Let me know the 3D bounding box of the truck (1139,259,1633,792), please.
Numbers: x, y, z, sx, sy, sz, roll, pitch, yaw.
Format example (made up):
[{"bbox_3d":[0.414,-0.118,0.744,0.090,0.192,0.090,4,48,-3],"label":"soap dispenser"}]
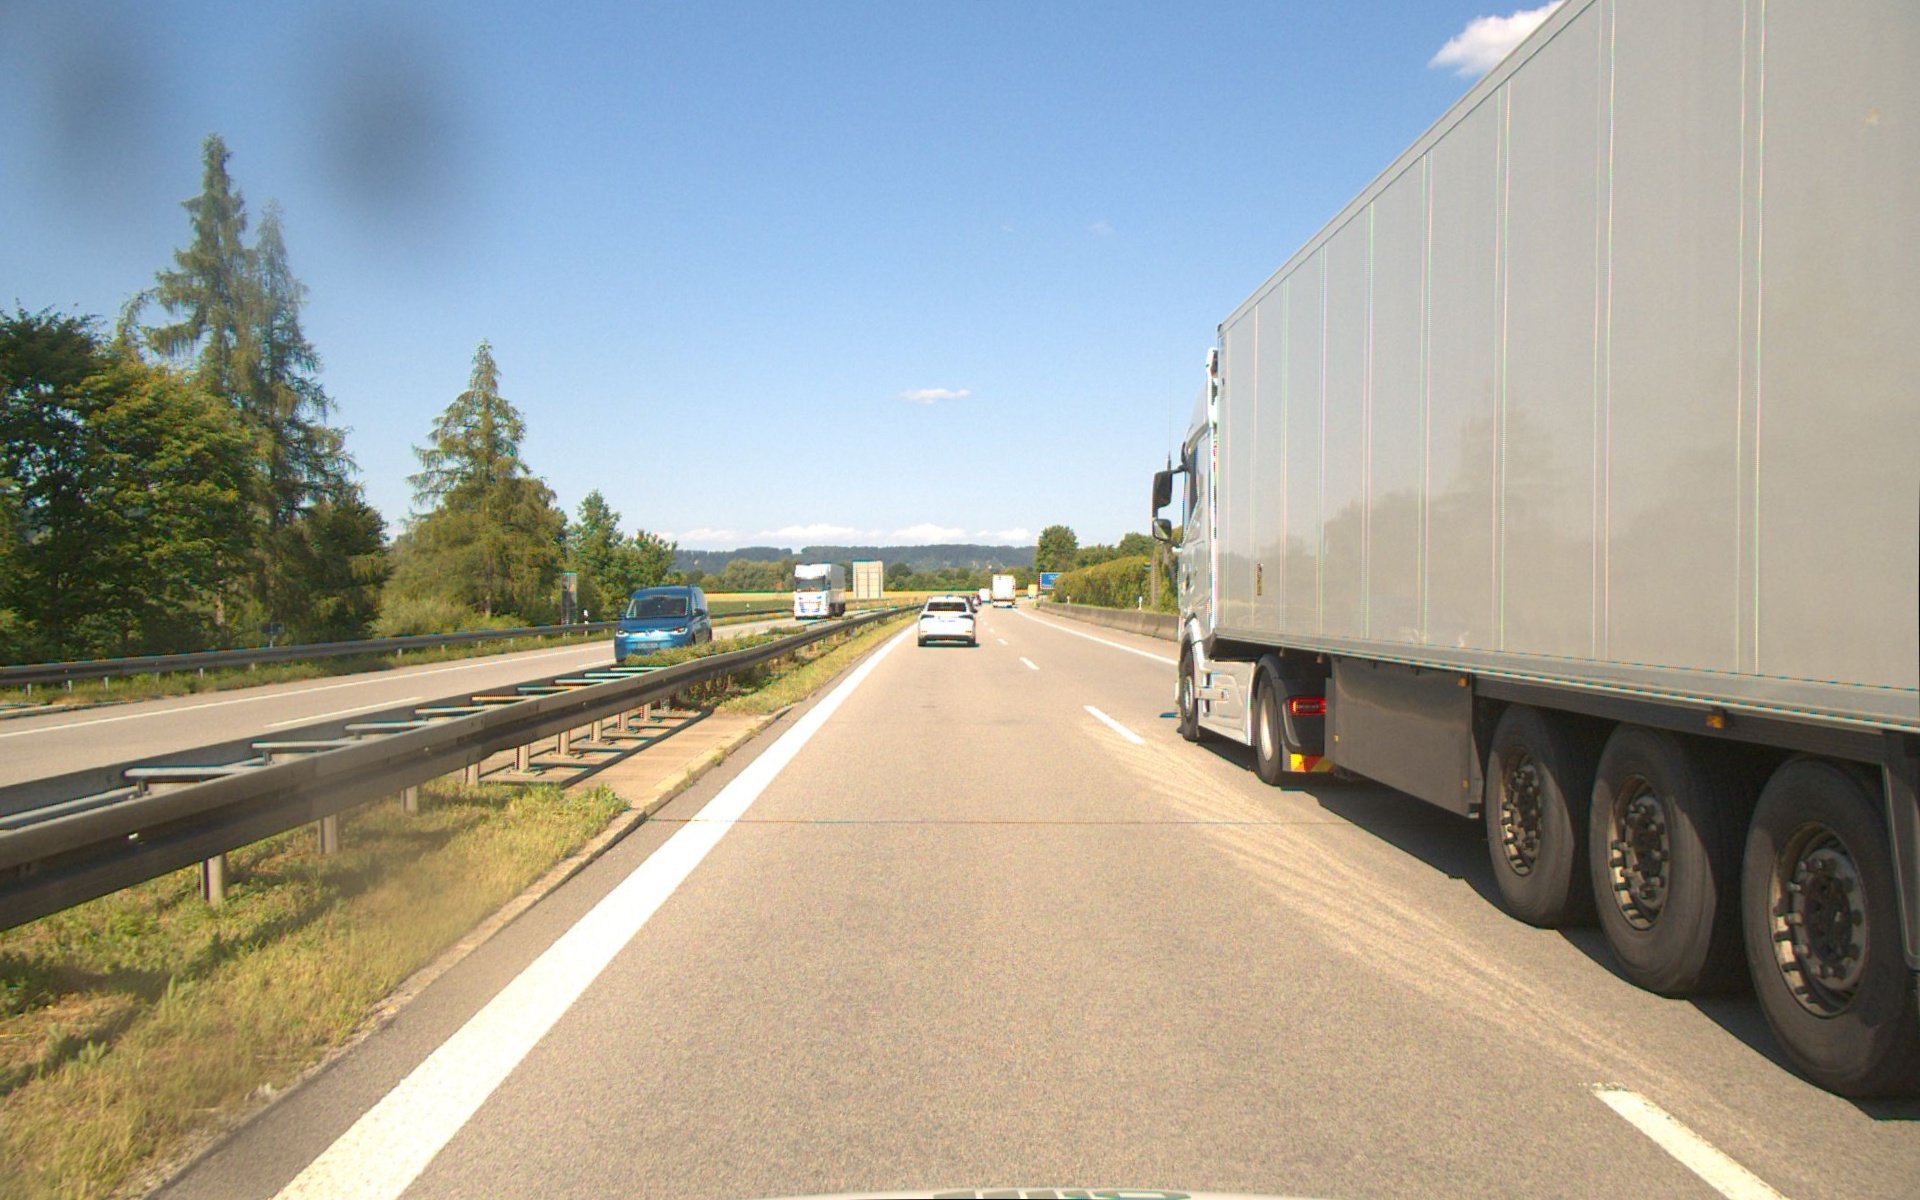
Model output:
[{"bbox_3d":[3.665,-0.597,16.245,2.783,4.036,7.041,-1,0,-2],"label":"truck"}]

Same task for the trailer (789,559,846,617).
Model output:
[{"bbox_3d":[-11.093,-0.915,129.924,3.086,4.196,13.441,-2,0,0],"label":"trailer"}]

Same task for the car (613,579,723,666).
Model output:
[{"bbox_3d":[-6.924,0.500,39.643,1.719,1.881,5.010,-2,0,-1],"label":"car"}]

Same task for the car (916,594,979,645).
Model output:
[{"bbox_3d":[-0.436,0.564,51.083,1.803,1.446,5.252,1,0,-2],"label":"car"}]

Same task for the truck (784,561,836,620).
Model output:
[{"bbox_3d":[-11.148,-0.699,123.584,3.092,4.173,7.735,-2,0,0],"label":"truck"}]

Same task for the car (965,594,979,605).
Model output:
[{"bbox_3d":[1.611,-0.087,222.334,1.734,1.446,4.366,1,0,2],"label":"car"}]

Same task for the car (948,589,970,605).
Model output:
[{"bbox_3d":[-0.077,-0.251,152.216,1.734,1.446,4.497,1,0,3],"label":"car"}]

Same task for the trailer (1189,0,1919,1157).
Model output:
[{"bbox_3d":[3.775,-0.603,8.940,2.761,4.036,14.157,-1,0,-1],"label":"trailer"}]

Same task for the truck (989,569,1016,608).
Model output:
[{"bbox_3d":[5.290,-1.397,206.178,3.086,4.693,8.908,-1,0,3],"label":"truck"}]
